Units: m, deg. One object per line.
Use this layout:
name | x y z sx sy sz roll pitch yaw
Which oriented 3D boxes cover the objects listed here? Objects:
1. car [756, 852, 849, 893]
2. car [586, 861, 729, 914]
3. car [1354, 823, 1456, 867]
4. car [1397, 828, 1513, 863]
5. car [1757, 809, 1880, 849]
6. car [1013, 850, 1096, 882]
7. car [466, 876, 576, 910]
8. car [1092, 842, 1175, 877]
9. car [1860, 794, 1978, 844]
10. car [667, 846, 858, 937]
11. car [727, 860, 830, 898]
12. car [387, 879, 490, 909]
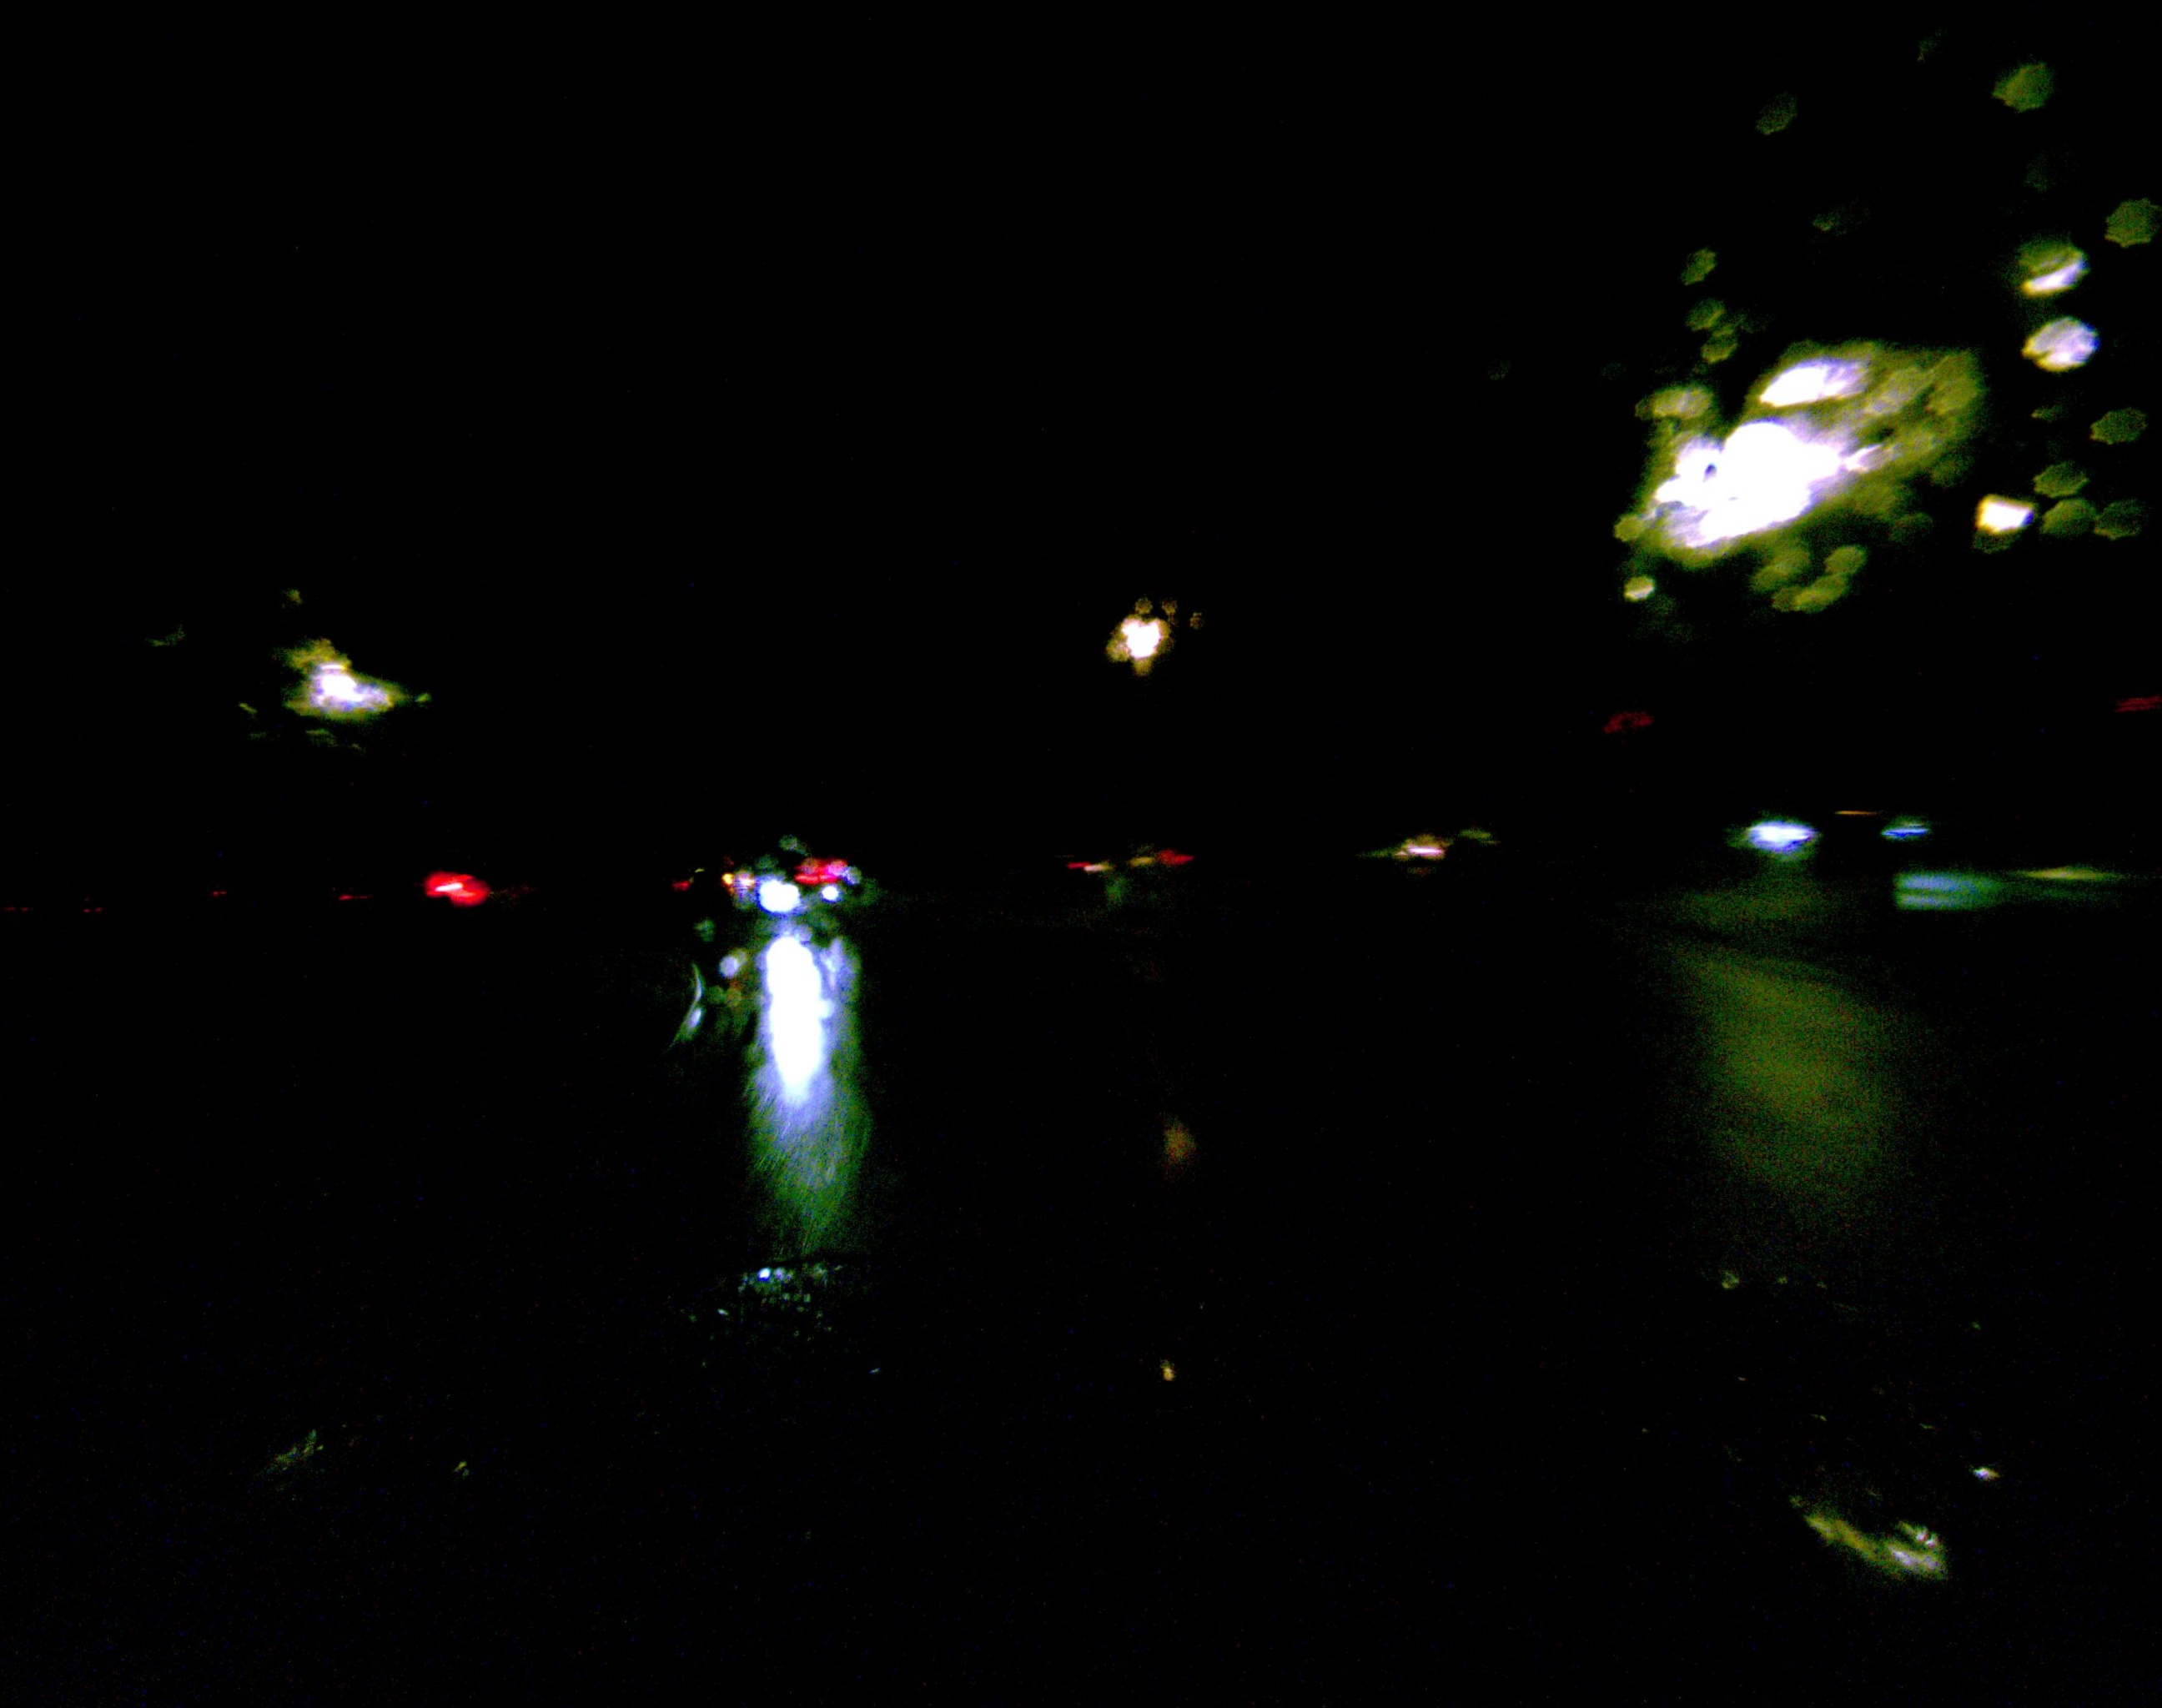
car | -14.706 0.972 40.246 4.201 1.881 1.768 -3 1 3
car | -15.418 1.214 27.774 4.132 1.640 1.832 -3 1 4
car | 16.474 -0.450 38.779 4.348 2.005 1.895 -2 1 5
car | 17.253 -0.405 35.197 4.449 1.351 1.652 -3 1 4
car | 29.986 -1.008 30.963 3.347 1.419 1.595 -3 1 4
car | -1.340 0.601 39.413 4.092 1.448 1.854 -3 1 3
car | -29.744 2.061 40.433 4.427 1.522 1.889 -3 1 3
car | 2.492 0.252 36.238 3.816 1.440 1.670 -3 1 3
car | 37.788 -1.562 34.304 3.790 2.002 1.594 -3 1 -5
car | -7.805 0.891 18.549 4.358 1.914 2.008 -2 2 31
car | -14.726 1.199 37.175 4.240 1.599 1.787 -3 1 2
car | -31.636 1.977 37.468 3.611 1.196 1.649 -3 1 2
